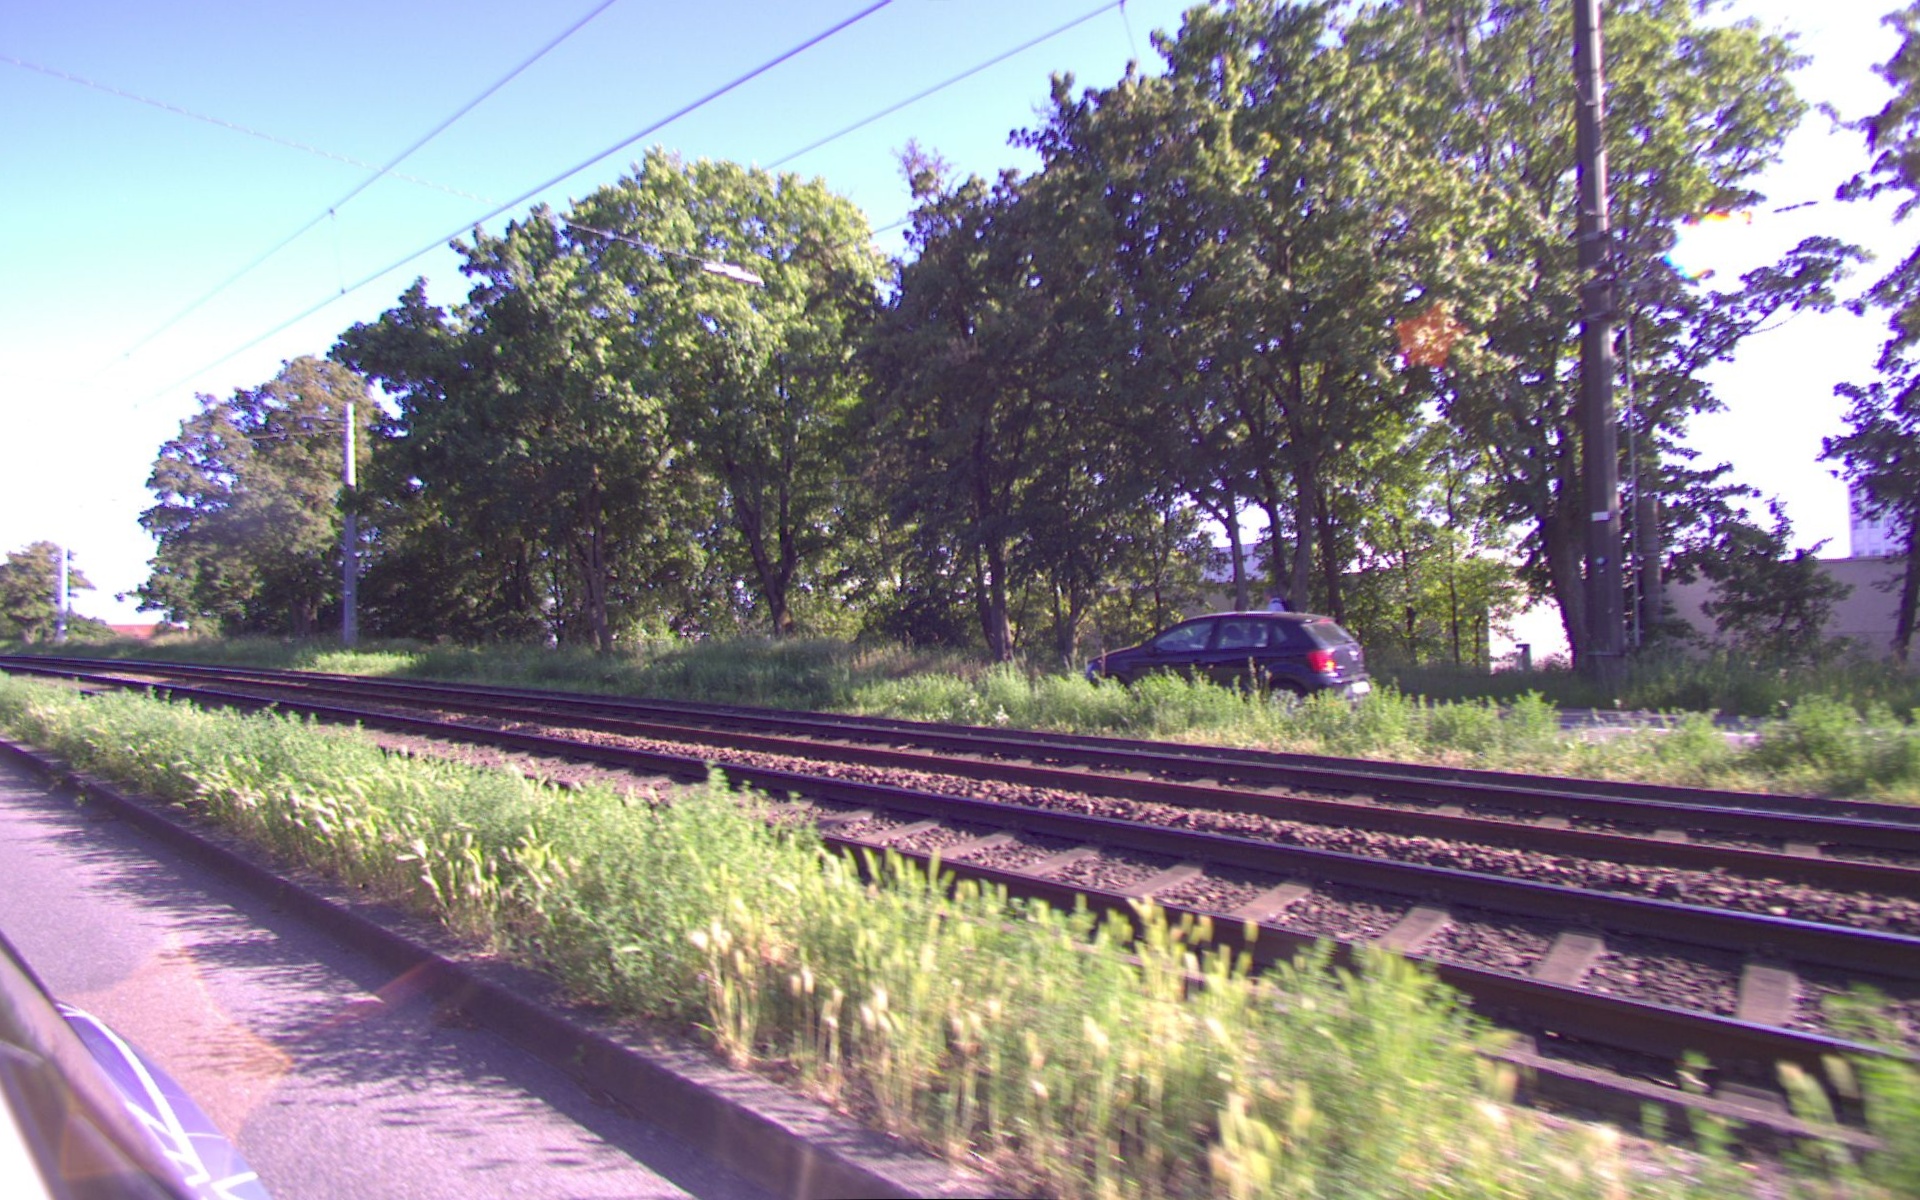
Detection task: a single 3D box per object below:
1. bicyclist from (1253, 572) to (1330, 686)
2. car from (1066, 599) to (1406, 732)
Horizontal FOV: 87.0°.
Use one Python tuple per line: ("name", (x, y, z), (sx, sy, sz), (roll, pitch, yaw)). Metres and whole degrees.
("bicyclist", (5.298, 0.452, 16.183), (0.902, 1.749, 0.810), (-2, -1, 40))
("car", (3.544, 0.780, 13.384), (3.997, 1.490, 1.693), (-1, -1, 40))
